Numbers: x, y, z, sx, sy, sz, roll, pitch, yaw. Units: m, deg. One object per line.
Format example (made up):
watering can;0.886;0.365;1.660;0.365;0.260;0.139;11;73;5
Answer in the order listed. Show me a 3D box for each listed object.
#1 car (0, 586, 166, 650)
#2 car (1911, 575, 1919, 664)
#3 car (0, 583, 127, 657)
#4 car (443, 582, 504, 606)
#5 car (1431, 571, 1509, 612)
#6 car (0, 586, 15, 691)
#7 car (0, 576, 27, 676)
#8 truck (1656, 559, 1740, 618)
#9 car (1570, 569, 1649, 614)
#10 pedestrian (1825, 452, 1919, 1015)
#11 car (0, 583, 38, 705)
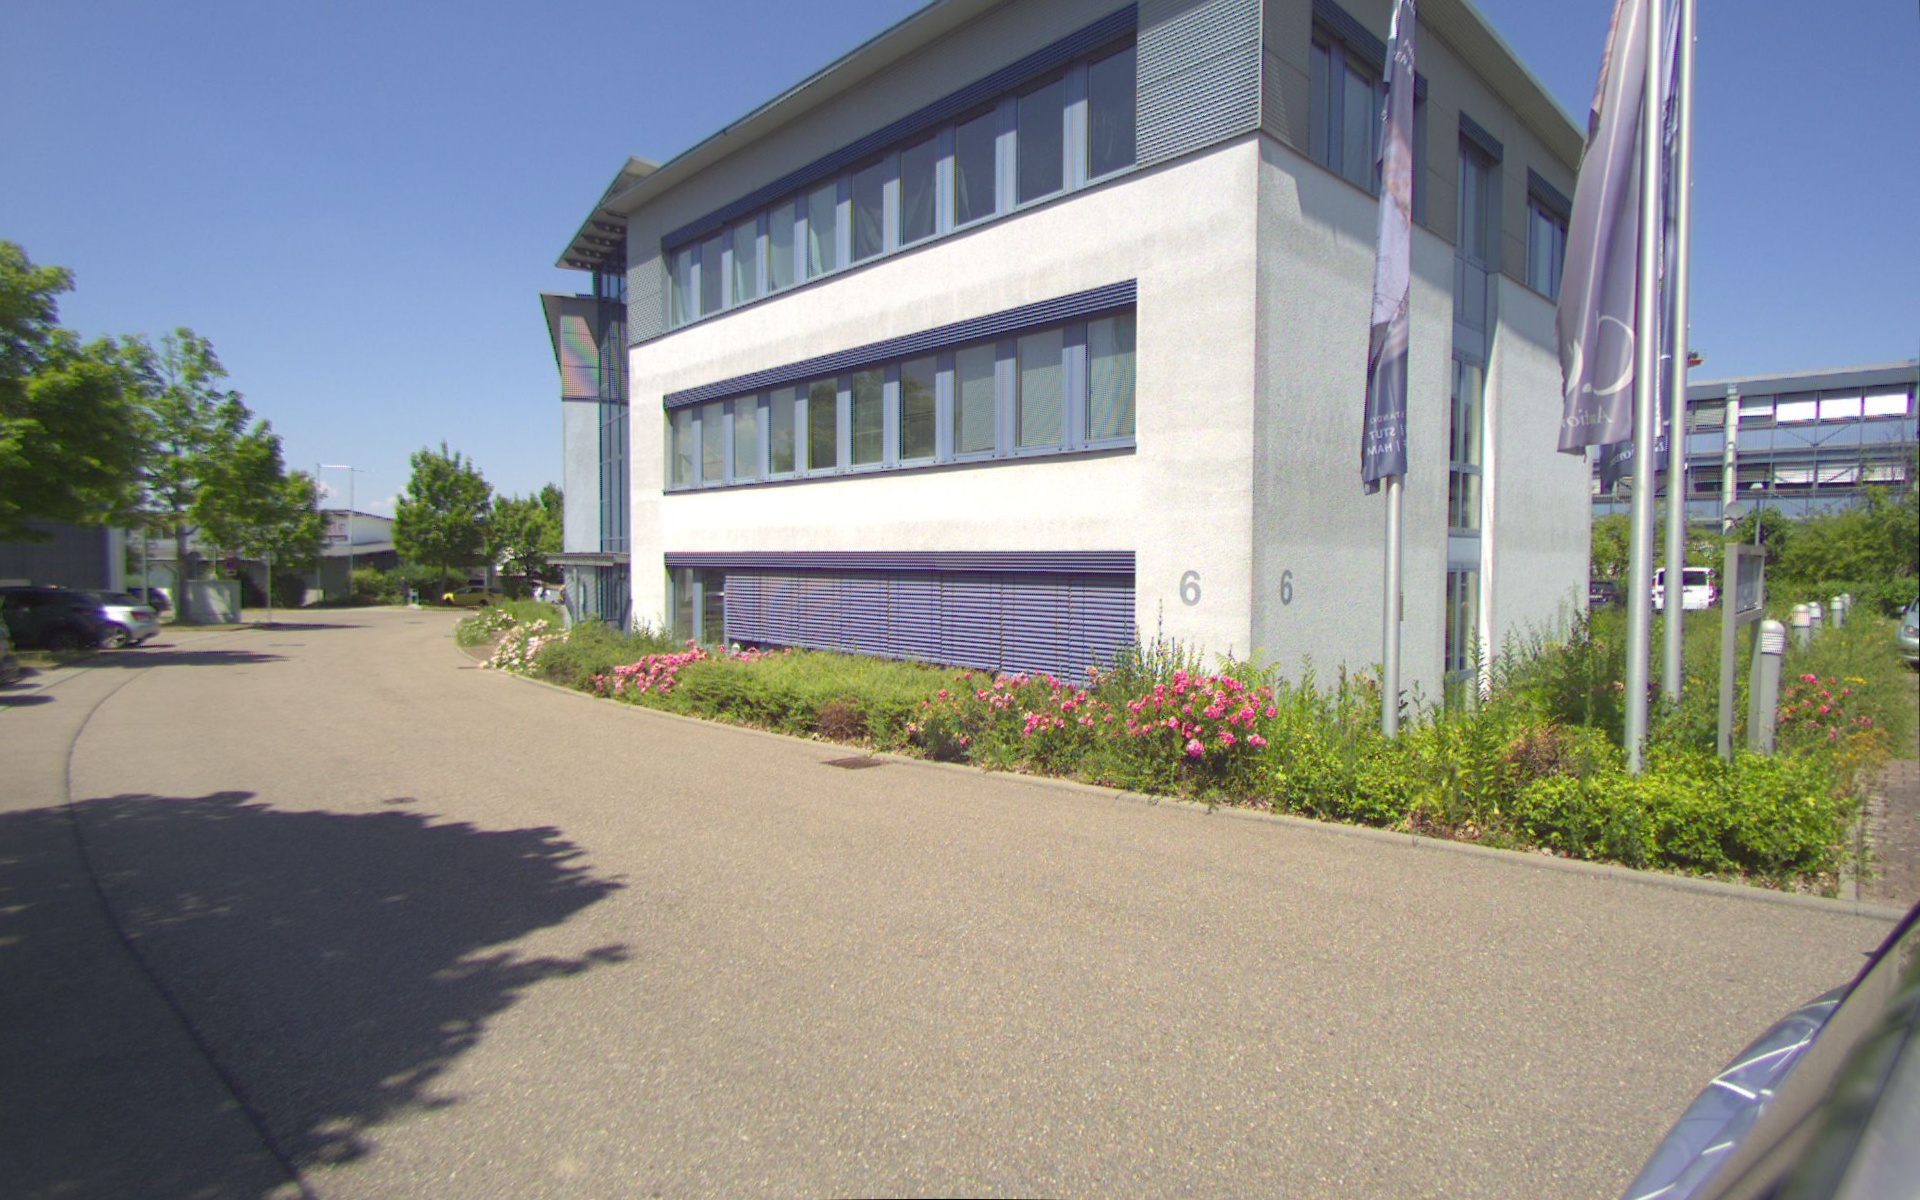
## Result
car;-21.446;0.408;24.264;3.516;1.461;1.638;0;0;-27
car;17.072;0.292;16.752;3.748;1.408;1.709;-2;2;-43
car;-20.602;0.414;22.025;3.516;1.545;1.638;0;0;-27
car;-31.117;-0.368;64.794;3.160;1.460;1.586;-1;1;8
car;20.771;-0.375;41.156;1.783;1.565;3.938;0;2;43
car;-15.603;0.547;13.686;4.109;1.505;1.656;0;0;-44
car;-17.683;0.424;15.956;4.095;1.625;1.662;0;0;-31
truck;25.768;-0.427;35.274;1.992;1.917;3.940;0;1;42
car;24.232;-0.342;37.700;1.783;1.565;3.938;0;2;43
pedestrian;3.609;0.435;3.295;0.885;1.843;0.862;-1;1;-17
car;-13.908;0.541;12.099;4.101;1.505;1.660;0;0;-37
